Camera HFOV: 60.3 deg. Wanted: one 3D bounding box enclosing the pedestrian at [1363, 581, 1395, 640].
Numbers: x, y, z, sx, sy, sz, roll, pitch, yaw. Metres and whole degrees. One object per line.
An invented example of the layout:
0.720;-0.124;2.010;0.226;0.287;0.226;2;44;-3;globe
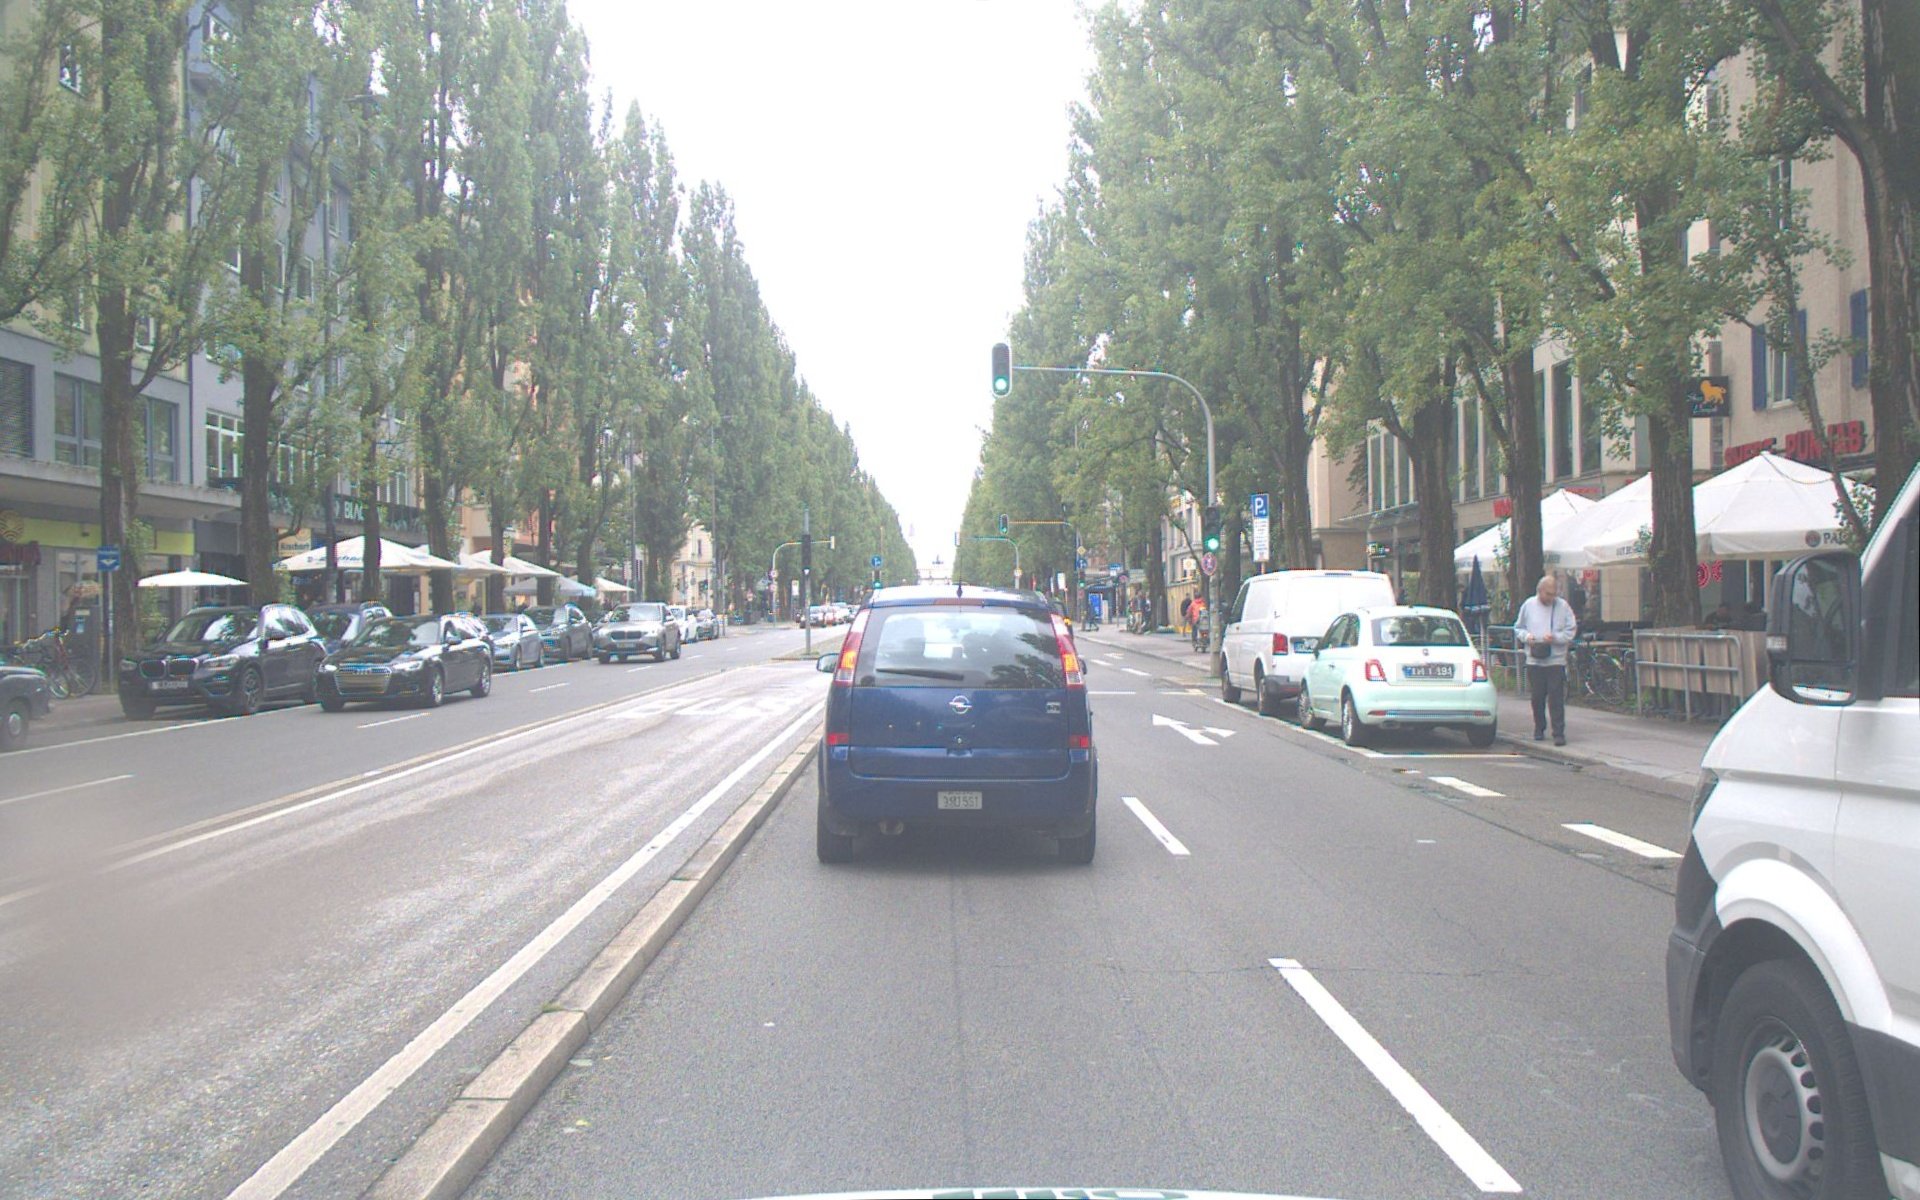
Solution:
12.355;0.316;48.774;0.660;1.715;0.758;-1;-1;-5;pedestrian

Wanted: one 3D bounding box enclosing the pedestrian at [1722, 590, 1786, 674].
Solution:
13.039;0.524;27.177;0.625;1.347;0.800;-1;0;-1;pedestrian

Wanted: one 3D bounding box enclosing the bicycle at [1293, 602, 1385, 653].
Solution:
9.710;0.699;42.367;2.182;1.225;0.626;-1;0;-3;bicycle

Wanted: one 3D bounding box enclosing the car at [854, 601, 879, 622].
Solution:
-6.868;0.811;121.444;1.699;1.491;3.364;-1;0;-1;car

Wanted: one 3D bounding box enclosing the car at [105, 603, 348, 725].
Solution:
-11.569;0.933;26.479;1.828;1.693;4.610;-2;0;-1;car

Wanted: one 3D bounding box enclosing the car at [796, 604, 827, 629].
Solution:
-10.274;1.138;114.680;1.828;1.695;4.119;-1;0;-1;car

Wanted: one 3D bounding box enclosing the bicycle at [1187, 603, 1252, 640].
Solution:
9.179;0.762;58.573;2.182;1.225;0.626;-1;0;-3;bicycle

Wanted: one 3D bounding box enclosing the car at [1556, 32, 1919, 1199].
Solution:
2.764;0.242;1.437;2.021;2.536;6.729;0;0;-1;car

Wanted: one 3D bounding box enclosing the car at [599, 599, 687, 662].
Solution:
-8.983;0.823;47.226;1.735;1.663;4.454;-2;0;-2;car

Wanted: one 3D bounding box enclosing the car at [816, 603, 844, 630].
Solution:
-10.245;1.258;130.357;1.953;2.049;3.999;-1;0;-1;car

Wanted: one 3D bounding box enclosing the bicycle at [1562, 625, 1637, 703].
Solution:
8.797;0.867;22.795;0.342;1.013;1.453;-2;-1;-4;bicycle

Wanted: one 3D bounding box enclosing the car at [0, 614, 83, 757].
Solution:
-11.657;1.003;18.040;1.828;1.579;4.413;-2;0;-1;car

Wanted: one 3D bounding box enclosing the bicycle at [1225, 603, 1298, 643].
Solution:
9.603;0.731;52.682;2.182;1.225;0.626;-1;0;-3;bicycle

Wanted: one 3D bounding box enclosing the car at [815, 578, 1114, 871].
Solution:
0.007;0.680;11.054;1.637;1.596;3.999;0;0;-1;car

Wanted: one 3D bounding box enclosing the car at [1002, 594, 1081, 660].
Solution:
2.096;0.676;43.591;1.858;1.650;3.999;0;0;-1;car

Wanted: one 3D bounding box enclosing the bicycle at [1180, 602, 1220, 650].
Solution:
7.082;0.747;48.840;0.757;1.372;2.449;-1;0;-1;bicycle

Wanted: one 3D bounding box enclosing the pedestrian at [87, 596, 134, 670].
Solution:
-19.967;0.771;38.878;0.740;1.715;0.675;-1;-1;1;pedestrian

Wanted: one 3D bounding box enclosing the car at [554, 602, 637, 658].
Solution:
-11.970;0.944;54.545;1.828;1.694;4.119;-2;0;-1;car

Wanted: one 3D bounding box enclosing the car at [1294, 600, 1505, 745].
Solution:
4.989;0.771;19.188;1.509;1.518;3.523;0;0;0;car

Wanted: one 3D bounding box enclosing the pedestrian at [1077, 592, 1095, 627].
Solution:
6.589;0.487;86.533;0.865;1.797;0.769;-1;0;-4;pedestrian

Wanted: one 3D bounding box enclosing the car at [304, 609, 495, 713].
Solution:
-9.019;0.932;26.959;1.710;1.459;4.129;-2;0;-1;car

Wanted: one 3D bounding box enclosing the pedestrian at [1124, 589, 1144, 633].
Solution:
7.598;0.482;72.186;0.625;1.859;0.885;1;-1;-11;pedestrian

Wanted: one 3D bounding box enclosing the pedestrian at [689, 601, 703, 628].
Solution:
-17.713;0.954;110.949;0.757;1.797;0.878;-1;0;-25;pedestrian

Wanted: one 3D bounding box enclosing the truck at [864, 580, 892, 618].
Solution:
-7.592;-0.127;153.812;2.334;3.405;7.109;-1;0;-1;truck

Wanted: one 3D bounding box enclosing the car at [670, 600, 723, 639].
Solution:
-12.328;0.874;77.598;1.828;1.694;4.119;-2;0;-1;car

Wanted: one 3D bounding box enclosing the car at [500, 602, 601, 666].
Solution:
-11.840;0.936;48.084;1.828;1.694;4.400;-2;0;-1;car

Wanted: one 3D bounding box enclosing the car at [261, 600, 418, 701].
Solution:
-11.798;0.909;31.694;1.676;1.751;3.919;-2;0;-4;car

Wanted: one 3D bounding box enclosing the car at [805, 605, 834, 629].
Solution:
-10.341;1.250;122.096;1.828;1.695;4.119;-1;0;-1;car

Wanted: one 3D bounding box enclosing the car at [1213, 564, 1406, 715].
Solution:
4.980;0.519;24.211;1.751;1.980;4.729;0;0;-1;car

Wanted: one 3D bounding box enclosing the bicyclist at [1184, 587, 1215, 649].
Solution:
7.076;0.537;48.937;0.752;1.797;0.885;-1;0;-1;bicyclist

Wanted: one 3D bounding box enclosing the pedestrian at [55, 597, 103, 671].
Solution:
-20.732;0.800;38.929;0.740;1.715;0.675;-1;-1;1;pedestrian

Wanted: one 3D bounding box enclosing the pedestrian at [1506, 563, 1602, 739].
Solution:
6.298;0.527;17.523;0.812;1.804;0.869;-1;0;29;pedestrian

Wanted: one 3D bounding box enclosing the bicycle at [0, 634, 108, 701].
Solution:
-16.170;1.187;29.124;1.909;1.114;0.718;2;0;-7;bicycle

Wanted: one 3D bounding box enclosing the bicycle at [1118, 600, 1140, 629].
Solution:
8.237;0.712;80.896;0.757;1.372;2.449;-1;0;-1;bicycle

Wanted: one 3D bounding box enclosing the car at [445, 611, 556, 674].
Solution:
-11.787;1.049;42.667;1.698;1.450;4.142;-2;0;-1;car

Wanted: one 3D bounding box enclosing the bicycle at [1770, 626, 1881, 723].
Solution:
9.634;0.809;18.459;0.342;1.013;1.453;-2;-1;-4;bicycle

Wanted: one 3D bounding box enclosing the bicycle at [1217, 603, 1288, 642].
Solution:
9.592;0.744;54.289;2.182;1.225;0.626;-1;0;-3;bicycle

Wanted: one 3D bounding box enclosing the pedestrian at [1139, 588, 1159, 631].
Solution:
8.272;0.423;72.555;0.625;1.859;0.885;1;-1;-11;pedestrian

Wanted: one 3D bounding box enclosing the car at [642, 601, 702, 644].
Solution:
-12.222;0.911;70.324;1.828;1.694;4.119;-2;0;-1;car

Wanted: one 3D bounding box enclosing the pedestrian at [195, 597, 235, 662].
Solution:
-20.006;0.787;44.427;0.740;1.715;0.675;-1;-1;0;pedestrian

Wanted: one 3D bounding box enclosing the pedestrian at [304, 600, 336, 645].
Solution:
-20.676;0.718;53.437;0.750;1.434;0.799;1;-1;-6;pedestrian

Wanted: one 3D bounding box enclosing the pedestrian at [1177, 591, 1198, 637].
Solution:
9.291;0.590;67.575;0.625;1.859;0.885;1;-1;-11;pedestrian
